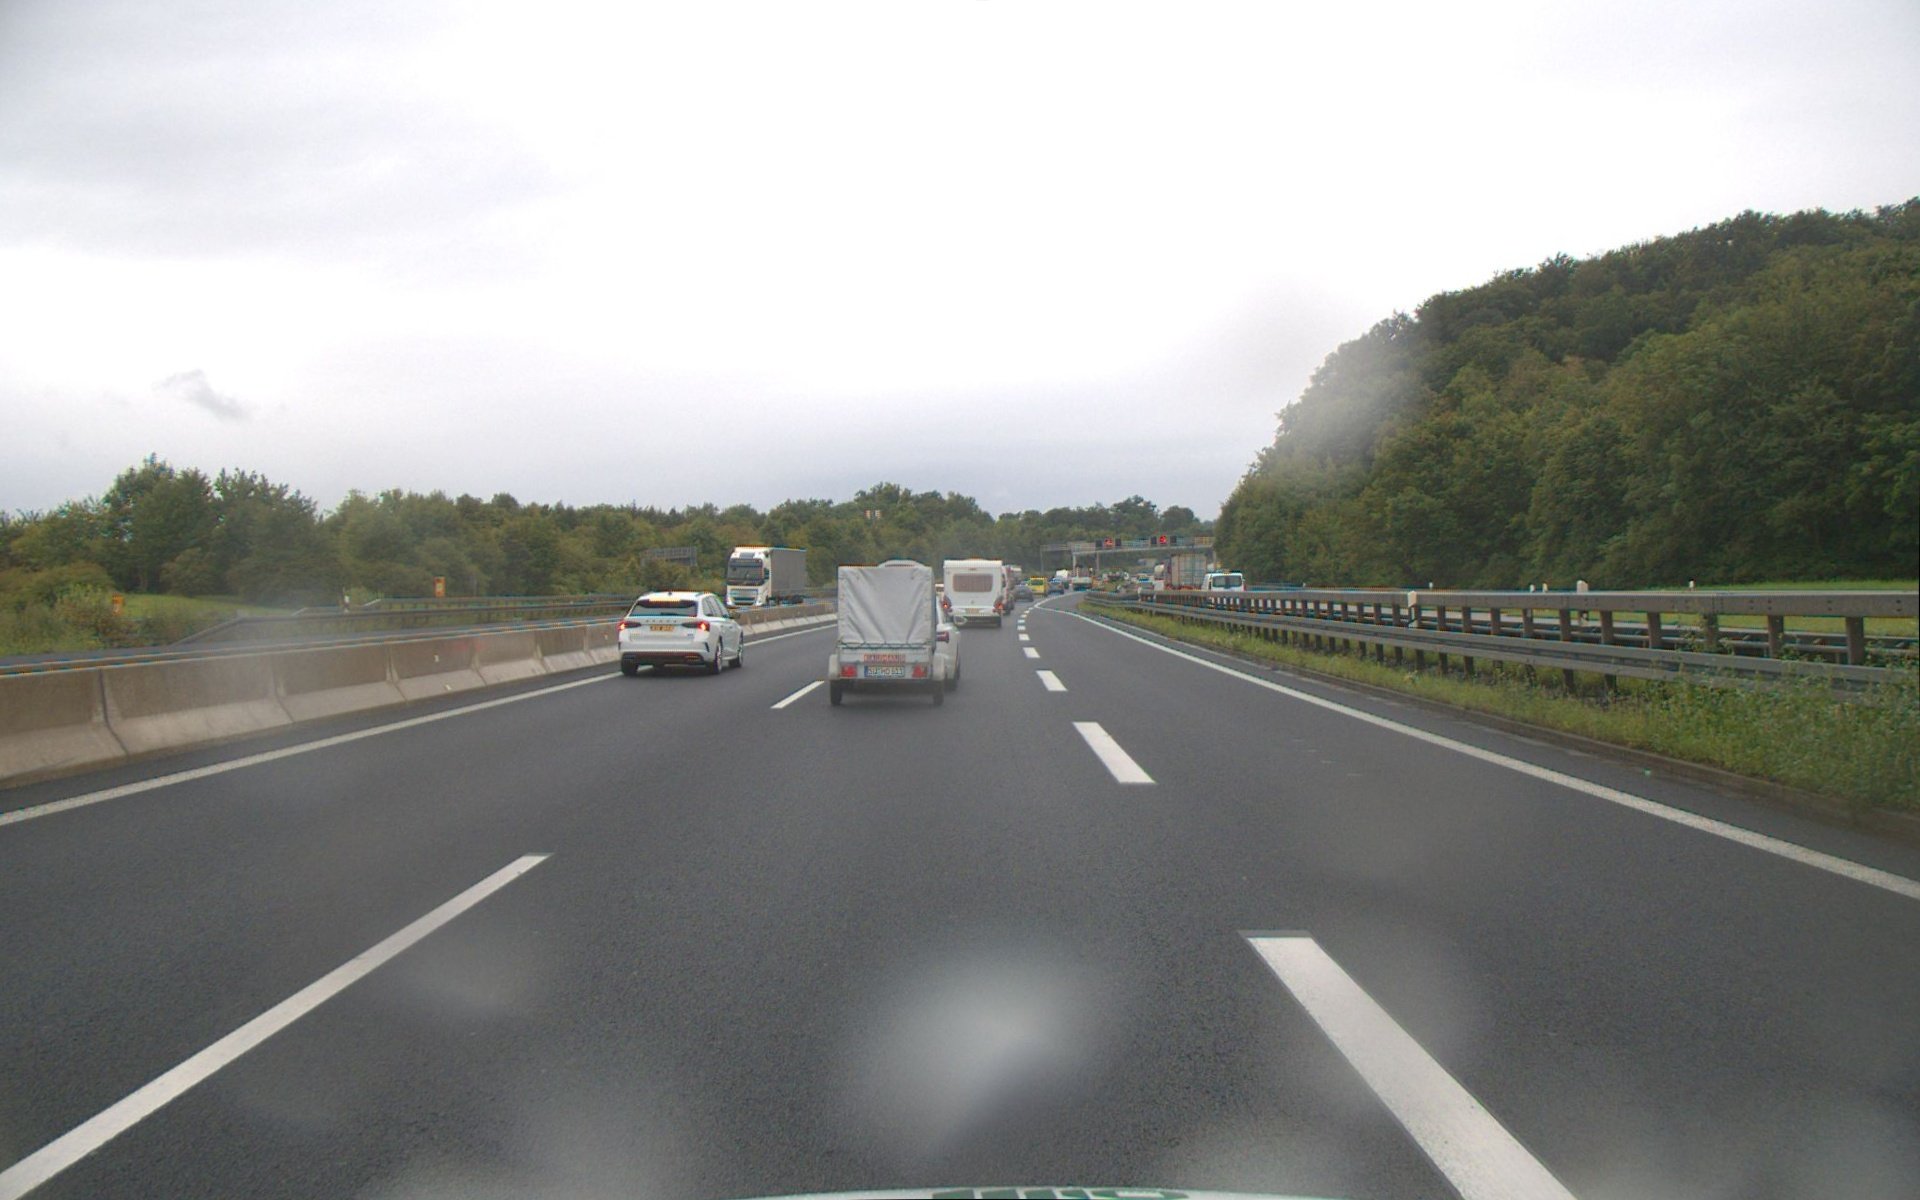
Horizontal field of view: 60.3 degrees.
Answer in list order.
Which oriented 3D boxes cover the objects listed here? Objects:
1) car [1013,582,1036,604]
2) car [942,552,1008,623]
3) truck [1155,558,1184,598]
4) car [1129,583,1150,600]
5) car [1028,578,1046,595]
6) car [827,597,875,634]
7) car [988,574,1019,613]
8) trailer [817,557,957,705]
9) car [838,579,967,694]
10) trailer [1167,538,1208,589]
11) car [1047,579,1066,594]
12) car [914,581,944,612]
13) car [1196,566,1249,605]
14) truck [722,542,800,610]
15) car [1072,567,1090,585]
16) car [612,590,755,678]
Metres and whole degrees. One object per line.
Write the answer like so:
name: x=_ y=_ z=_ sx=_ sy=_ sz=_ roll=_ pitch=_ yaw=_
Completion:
car: x=5.714 y=-0.624 z=146.228 sx=1.640 sy=1.844 sz=4.003 roll=-1 pitch=0 yaw=6
car: x=0.632 y=-0.446 z=65.204 sx=2.456 sy=2.631 sz=5.700 roll=-1 pitch=0 yaw=1
truck: x=26.408 y=-2.701 z=208.769 sx=3.147 sy=4.748 sz=13.040 roll=-1 pitch=0 yaw=5
car: x=16.147 y=-0.762 z=148.545 sx=1.632 sy=1.407 sz=4.128 roll=-3 pitch=0 yaw=3
car: x=8.295 y=-1.447 z=178.006 sx=1.640 sy=1.844 sz=4.002 roll=-1 pitch=0 yaw=5
car: x=-4.497 y=0.643 z=68.661 sx=1.641 sy=1.481 sz=4.001 roll=-1 pitch=0 yaw=1
car: x=2.410 y=-0.351 z=91.972 sx=1.641 sy=2.103 sz=4.001 roll=-1 pitch=0 yaw=1
trailer: x=-0.930 y=0.397 z=22.924 sx=1.641 sy=1.844 sz=4.001 roll=-1 pitch=0 yaw=1
car: x=-0.827 y=0.541 z=26.387 sx=1.781 sy=1.644 sz=4.778 roll=-1 pitch=0 yaw=1
trailer: x=19.471 y=-3.030 z=142.051 sx=2.549 sy=3.962 sz=12.496 roll=-1 pitch=0 yaw=4
car: x=11.824 y=-1.671 z=202.283 sx=1.994 sy=1.712 sz=4.003 roll=-1 pitch=0 yaw=9
car: x=-2.069 y=-0.223 z=109.909 sx=1.953 sy=1.952 sz=3.999 roll=-1 pitch=0 yaw=-1
car: x=12.232 y=-0.666 z=77.431 sx=1.869 sy=1.723 sz=4.720 roll=-1 pitch=0 yaw=2
truck: x=-13.037 y=-1.484 z=109.671 sx=2.729 sy=4.164 sz=12.305 roll=-1 pitch=0 yaw=4
car: x=17.760 y=-3.509 z=242.494 sx=2.462 sy=2.620 sz=5.316 roll=-1 pitch=0 yaw=7
car: x=-5.050 y=0.592 z=30.823 sx=1.781 sy=1.481 sz=4.778 roll=-1 pitch=0 yaw=1
